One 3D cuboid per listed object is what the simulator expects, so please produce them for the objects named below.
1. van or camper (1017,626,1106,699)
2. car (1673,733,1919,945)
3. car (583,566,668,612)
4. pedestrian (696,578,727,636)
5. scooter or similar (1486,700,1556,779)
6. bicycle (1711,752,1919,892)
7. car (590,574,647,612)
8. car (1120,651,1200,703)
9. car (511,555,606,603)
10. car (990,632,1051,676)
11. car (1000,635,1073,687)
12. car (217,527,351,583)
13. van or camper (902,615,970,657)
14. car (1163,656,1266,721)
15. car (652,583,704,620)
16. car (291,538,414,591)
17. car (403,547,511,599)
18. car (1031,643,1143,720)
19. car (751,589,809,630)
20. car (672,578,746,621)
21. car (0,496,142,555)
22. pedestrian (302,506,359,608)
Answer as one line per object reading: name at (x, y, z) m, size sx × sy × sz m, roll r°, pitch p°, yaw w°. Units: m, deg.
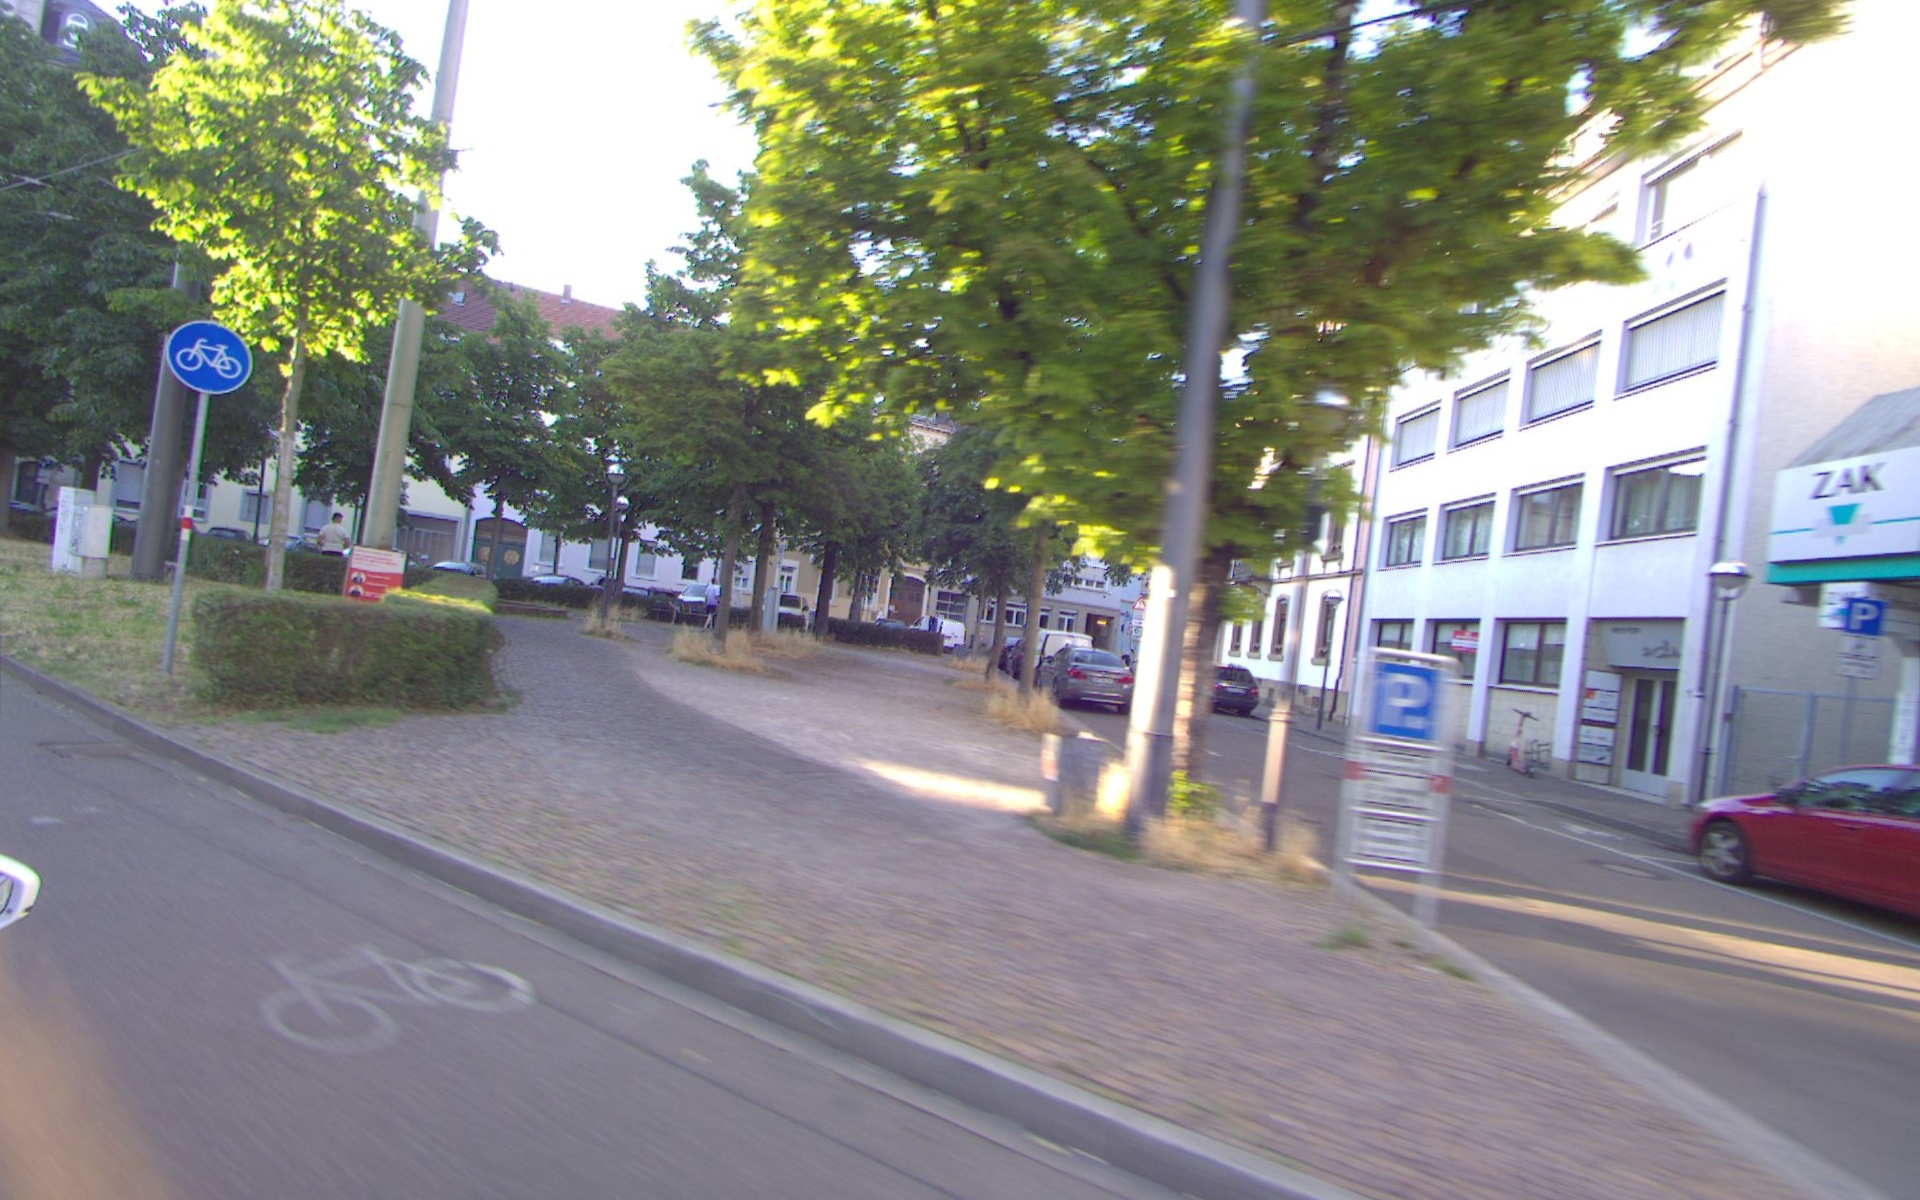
van or camper at (2.959, 1.808, 30.099) m, size 1.801 × 1.788 × 3.868 m, roll 8°, pitch -1°, yaw -4°
car at (8.776, 2.246, 8.948) m, size 1.801 × 1.456 × 3.868 m, roll 8°, pitch -1°, yaw -4°
car at (-13.188, -0.399, 39.944) m, size 1.827 × 1.443 × 4.470 m, roll 7°, pitch -1°, yaw -1°
pedestrian at (-8.012, 0.220, 32.430) m, size 0.758 × 1.769 × 1.004 m, roll 8°, pitch -1°, yaw -14°
scooter or similar at (11.322, 2.796, 20.370) m, size 0.423 × 1.384 × 1.690 m, roll 8°, pitch -1°, yaw 5°
bicycle at (10.072, 2.561, 11.873) m, size 0.516 × 1.194 × 1.926 m, roll 8°, pitch -1°, yaw -14°
car at (-17.233, -0.333, 50.923) m, size 1.967 × 1.582 × 3.994 m, roll 8°, pitch -2°, yaw -10°
car at (7.355, 2.801, 37.387) m, size 1.801 × 1.456 × 3.868 m, roll 8°, pitch -1°, yaw -4°
car at (-15.516, -0.755, 39.140) m, size 1.827 × 1.443 × 4.470 m, roll 7°, pitch -1°, yaw -1°
car at (2.423, 2.169, 41.247) m, size 1.828 × 1.443 × 4.329 m, roll 7°, pitch -1°, yaw -4°
car at (2.637, 2.106, 35.591) m, size 1.828 × 1.443 × 4.329 m, roll 7°, pitch -1°, yaw -4°
car at (-23.511, -1.511, 35.209) m, size 1.828 × 1.443 × 4.329 m, roll 7°, pitch -1°, yaw -4°
van or camper at (-1.446, 2.081, 58.797) m, size 1.816 × 1.892 × 4.328 m, roll 9°, pitch -2°, yaw -32°
car at (7.675, 2.639, 30.716) m, size 1.801 × 1.456 × 3.868 m, roll 8°, pitch -1°, yaw -4°
car at (-14.412, 0.091, 51.552) m, size 1.967 × 1.582 × 3.994 m, roll 8°, pitch -2°, yaw -10°
car at (-21.428, -1.196, 35.724) m, size 1.828 × 1.443 × 4.329 m, roll 7°, pitch -1°, yaw -4°
car at (-18.432, -0.952, 37.099) m, size 1.829 × 1.442 × 4.329 m, roll 8°, pitch -2°, yaw -3°
car at (3.014, 1.931, 24.796) m, size 1.828 × 1.443 × 4.329 m, roll 7°, pitch -1°, yaw -4°
car at (-7.578, 0.420, 42.720) m, size 1.828 × 1.443 × 4.329 m, roll 7°, pitch -1°, yaw -4°
car at (-10.286, 0.042, 41.510) m, size 1.827 × 1.443 × 4.470 m, roll 7°, pitch -1°, yaw -1°
car at (-30.198, -2.493, 33.864) m, size 1.828 × 1.443 × 4.329 m, roll 7°, pitch -1°, yaw -4°
pedestrian at (-13.373, -0.896, 21.386) m, size 0.642 × 2.037 × 0.814 m, roll 8°, pitch -1°, yaw -20°
